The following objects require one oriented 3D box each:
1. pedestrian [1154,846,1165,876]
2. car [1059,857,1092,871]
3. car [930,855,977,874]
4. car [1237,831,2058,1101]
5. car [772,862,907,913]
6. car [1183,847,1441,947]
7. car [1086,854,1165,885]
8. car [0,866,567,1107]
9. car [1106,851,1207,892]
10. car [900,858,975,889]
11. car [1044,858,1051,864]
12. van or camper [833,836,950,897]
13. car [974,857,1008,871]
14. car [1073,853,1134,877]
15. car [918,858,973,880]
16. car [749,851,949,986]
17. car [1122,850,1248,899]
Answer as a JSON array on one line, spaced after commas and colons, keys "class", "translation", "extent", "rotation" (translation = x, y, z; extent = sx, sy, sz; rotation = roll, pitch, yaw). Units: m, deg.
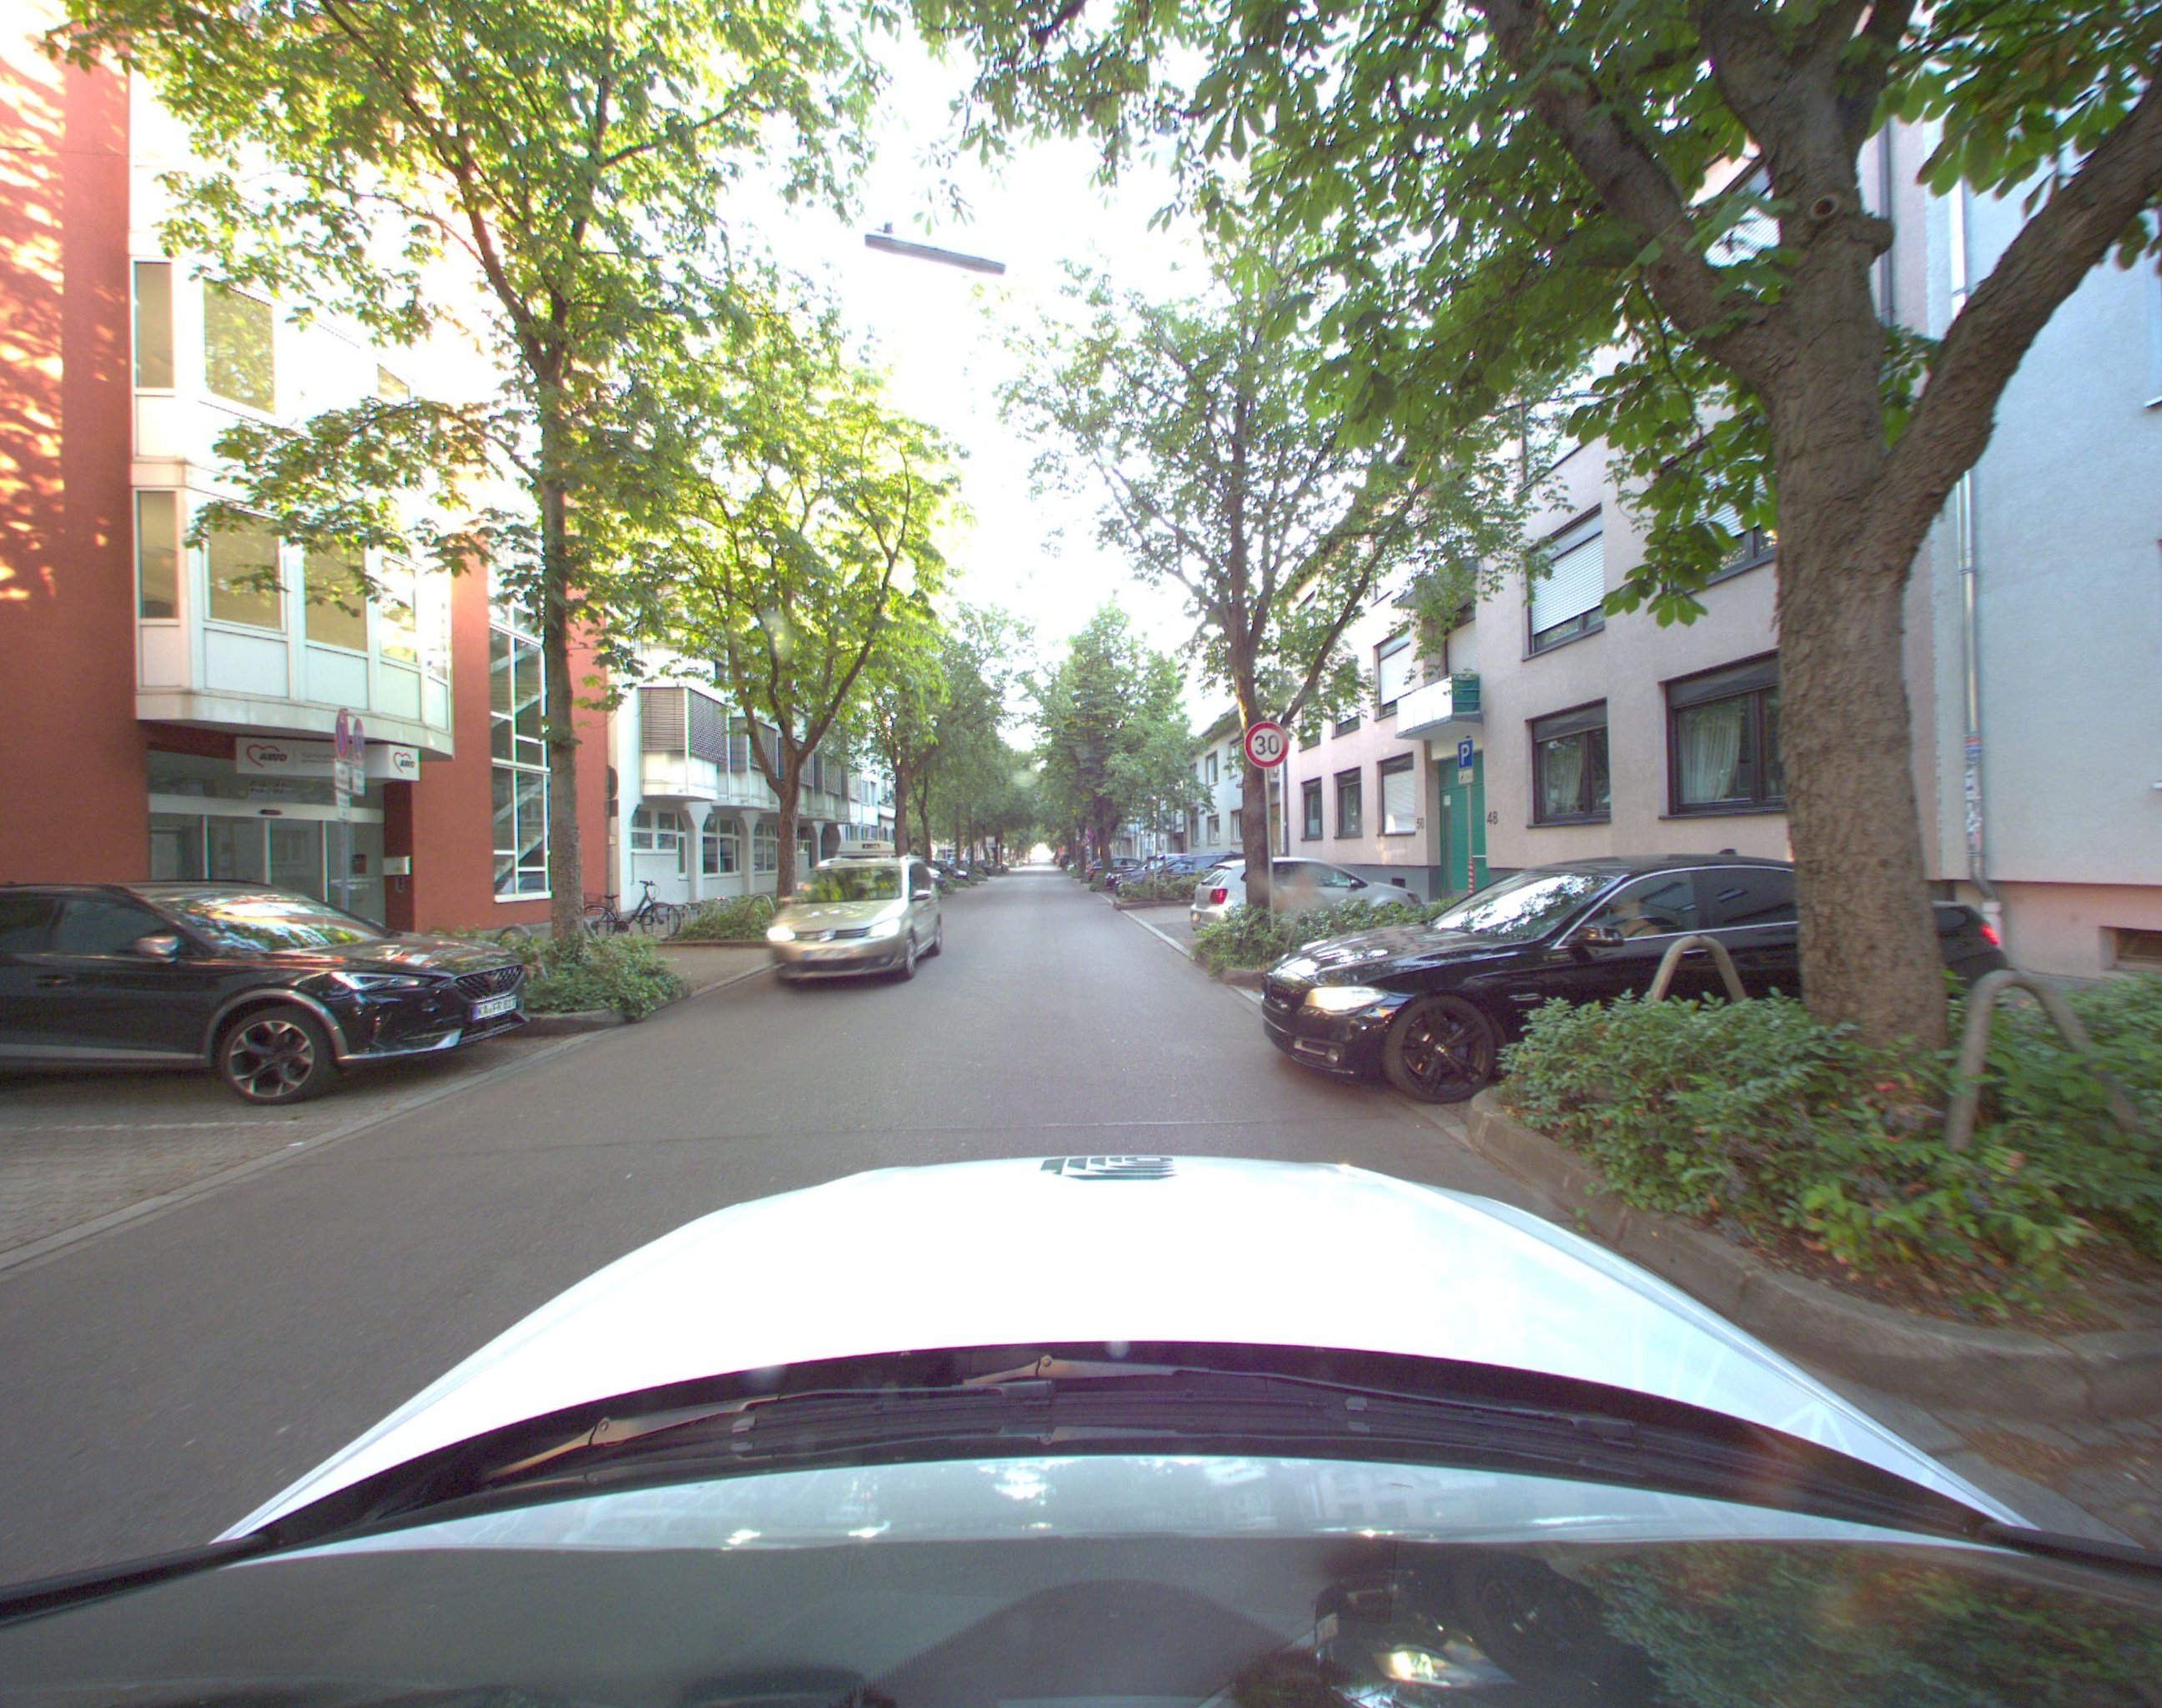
[{"class": "pedestrian", "translation": [5.266, 0.469, 54.711], "extent": [0.587, 2.013, 0.669], "rotation": [-1, 0, -2]}, {"class": "car", "translation": [-0.720, 1.206, 99.083], "extent": [3.957, 1.684, 1.784], "rotation": [-2, 0, -2]}, {"class": "car", "translation": [-11.698, 0.978, 74.953], "extent": [3.957, 1.619, 1.784], "rotation": [-2, 0, -2]}, {"class": "car", "translation": [3.679, 0.658, 5.849], "extent": [4.734, 1.480, 1.798], "rotation": [-1, 0, -3]}, {"class": "car", "translation": [-8.018, 1.087, 27.265], "extent": [3.958, 1.517, 1.784], "rotation": [-2, 0, -2]}, {"class": "car", "translation": [3.849, 0.686, 13.921], "extent": [3.902, 1.476, 1.662], "rotation": [-2, 0, -5]}, {"class": "car", "translation": [2.322, 0.801, 42.964], "extent": [3.959, 1.527, 1.783], "rotation": [-2, 0, -4]}, {"class": "car", "translation": [-6.826, 0.927, 6.396], "extent": [4.344, 1.517, 1.783], "rotation": [-2, 0, -3]}, {"class": "car", "translation": [3.112, 0.710, 34.089], "extent": [3.959, 1.527, 1.783], "rotation": [-2, 0, -4]}, {"class": "car", "translation": [-8.177, 1.106, 46.627], "extent": [3.958, 1.619, 1.784], "rotation": [-2, 0, -2]}, {"class": "car", "translation": [-9.737, 2.005, 236.308], "extent": [1.818, 1.531, 3.997], "rotation": [0, 0, -2]}, {"class": "van or camper", "translation": [-8.210, 0.529, 35.614], "extent": [4.653, 2.478, 1.998], "rotation": [-1, 0, -3]}, {"class": "car", "translation": [-11.087, 1.216, 100.772], "extent": [3.957, 1.619, 1.784], "rotation": [-2, 0, -2]}, {"class": "car", "translation": [1.492, 0.737, 54.905], "extent": [3.961, 1.527, 1.782], "rotation": [-2, 0, -5]}, {"class": "car", "translation": [-10.477, 1.158, 63.260], "extent": [3.957, 1.619, 1.784], "rotation": [-2, 0, -2]}, {"class": "car", "translation": [-3.102, 0.768, 11.802], "extent": [1.774, 1.562, 4.165], "rotation": [-1, 0, -2]}, {"class": "car", "translation": [3.467, 0.666, 27.570], "extent": [3.961, 1.476, 1.782], "rotation": [-2, 0, -5]}]
